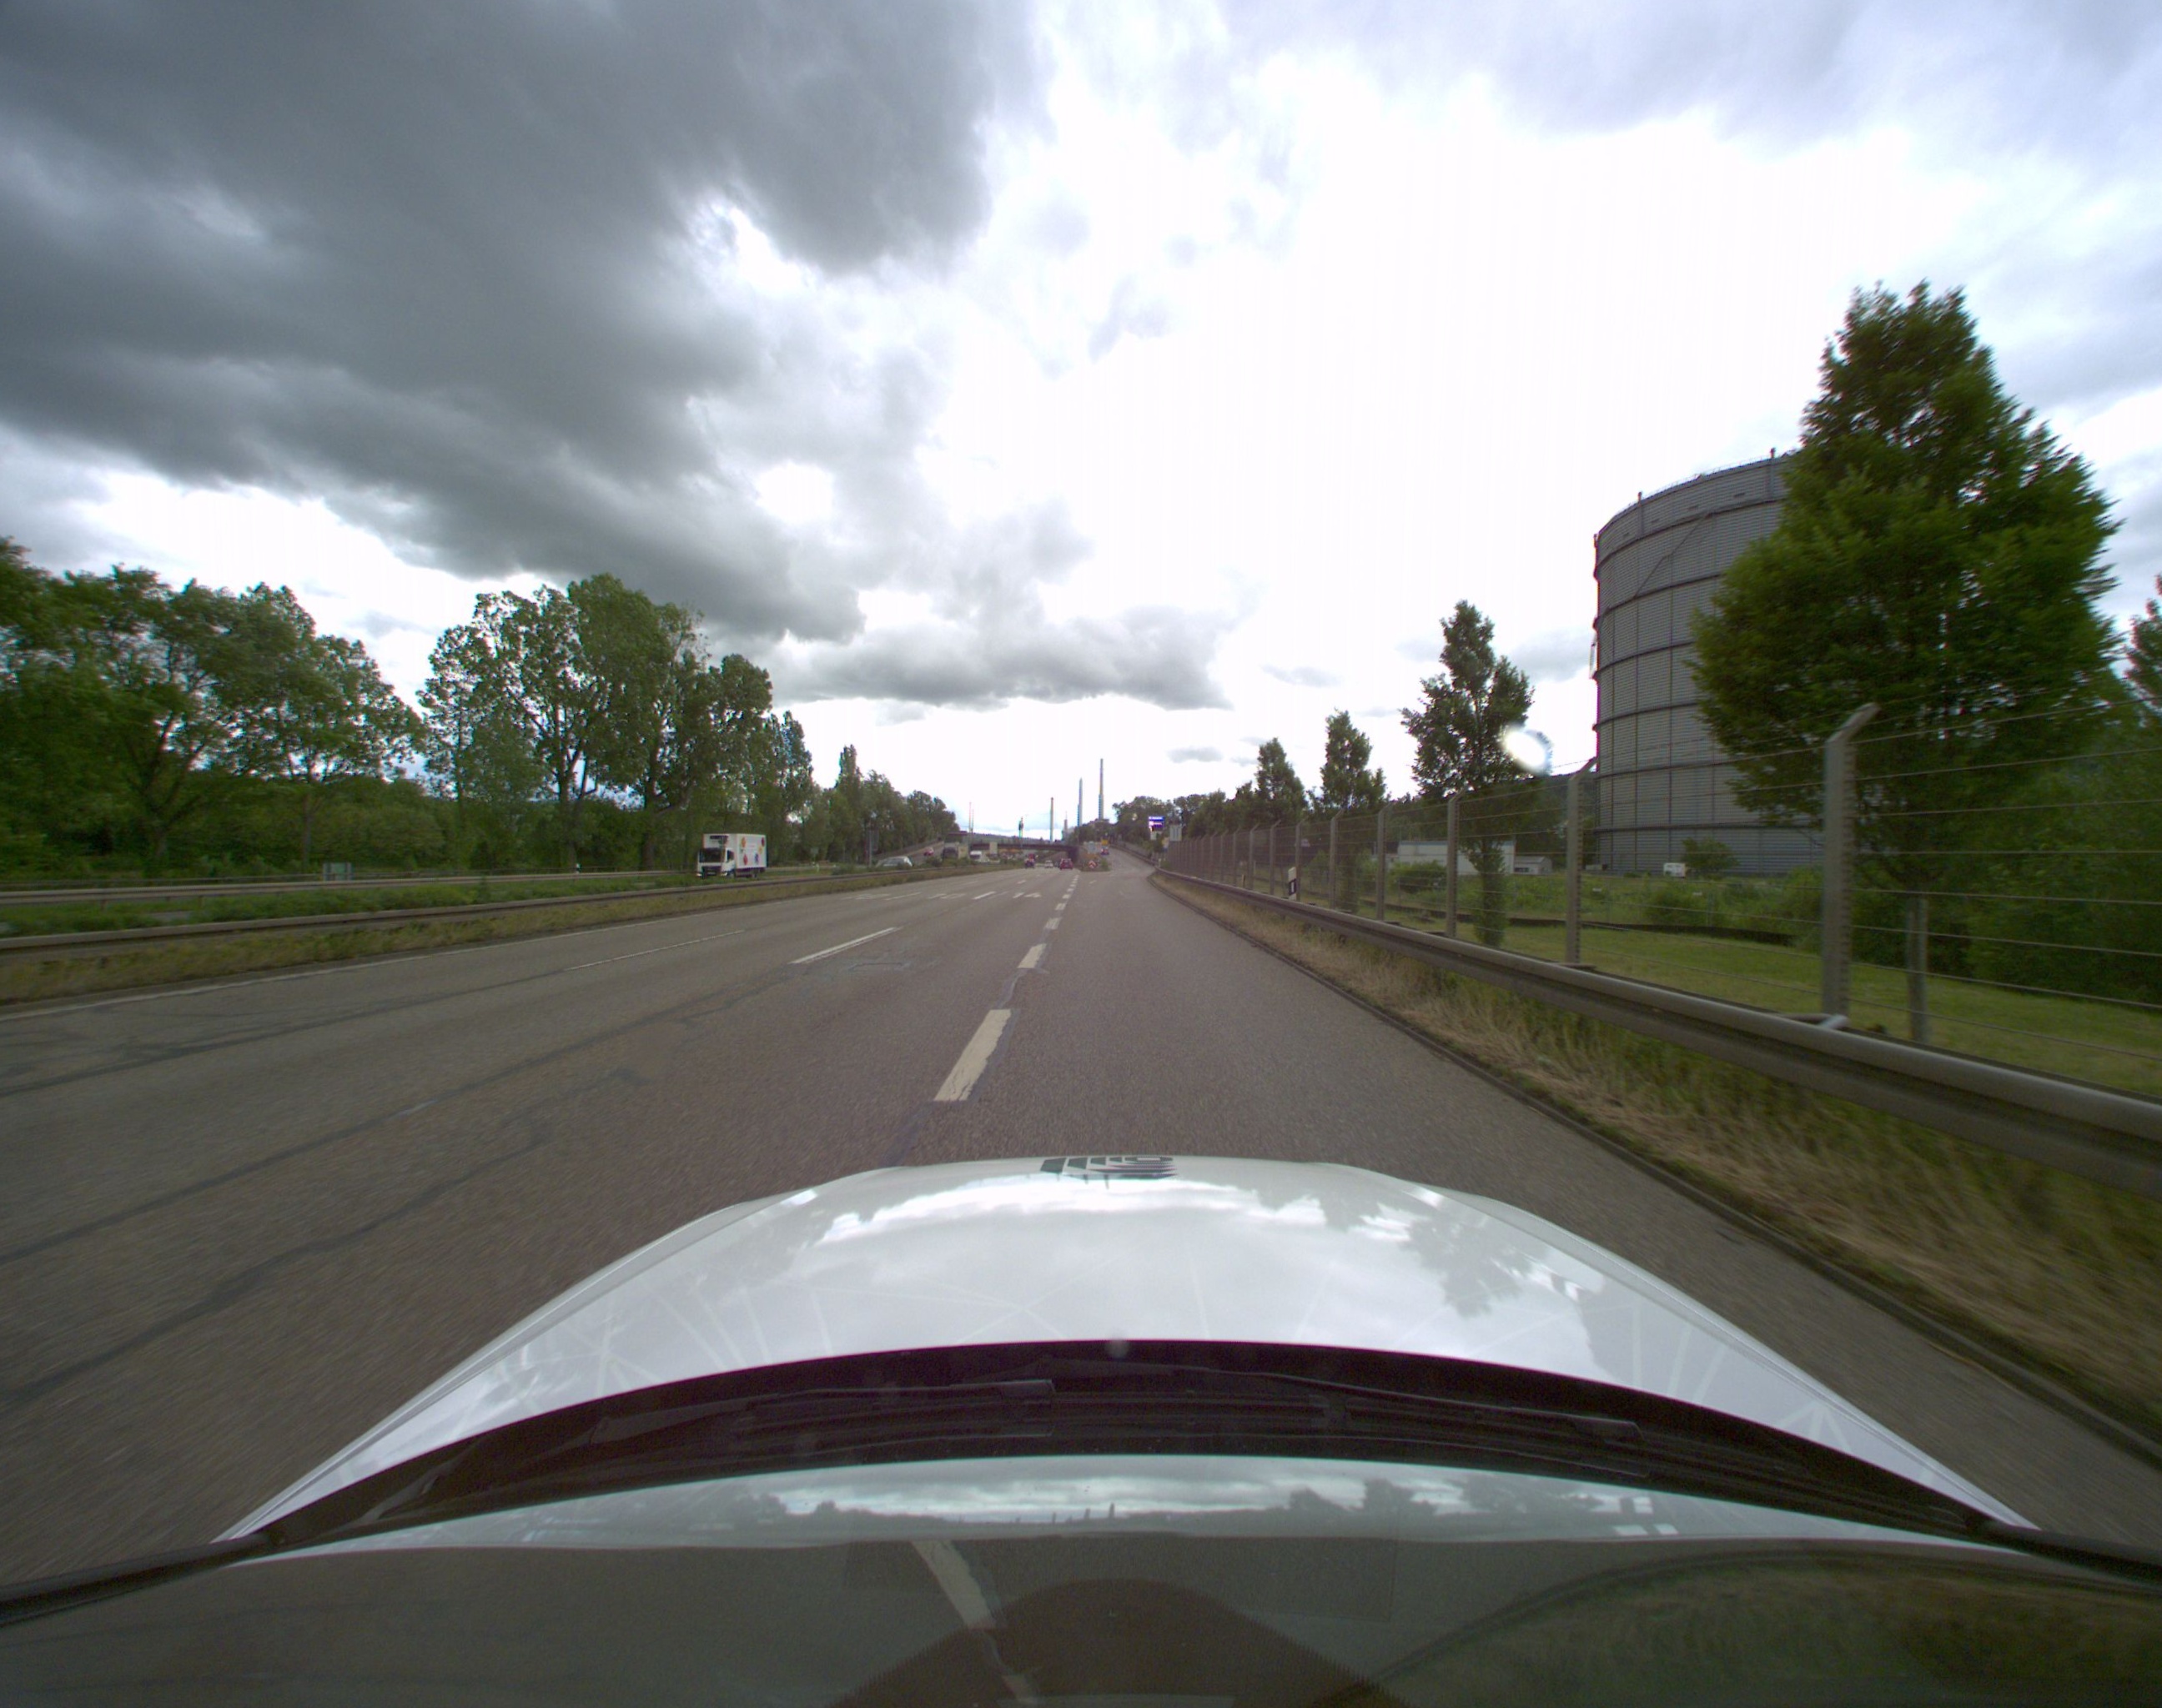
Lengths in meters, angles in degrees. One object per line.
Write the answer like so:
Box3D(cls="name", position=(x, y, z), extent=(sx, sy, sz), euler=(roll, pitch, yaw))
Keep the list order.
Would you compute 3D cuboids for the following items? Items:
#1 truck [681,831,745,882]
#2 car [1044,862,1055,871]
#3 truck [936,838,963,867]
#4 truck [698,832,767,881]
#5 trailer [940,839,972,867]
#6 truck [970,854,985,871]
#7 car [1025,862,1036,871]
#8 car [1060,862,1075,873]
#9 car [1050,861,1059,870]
Box3D(cls="truck", position=(-27.815, 0.175, 61.737), extent=(2.978, 3.643, 3.995), euler=(2, -1, -3))
Box3D(cls="car", position=(-6.569, 2.545, 169.300), extent=(1.987, 1.684, 4.000), euler=(1, 0, 0))
Box3D(cls="truck", position=(-22.202, -0.195, 138.028), extent=(3.453, 4.673, 6.209), euler=(1, -1, -1))
Box3D(cls="truck", position=(-28.013, 0.206, 65.790), extent=(2.976, 3.643, 6.330), euler=(2, -1, -3))
Box3D(cls="trailer", position=(-22.252, -0.098, 146.061), extent=(3.453, 4.673, 14.776), euler=(1, -1, 0))
Box3D(cls="truck", position=(-23.641, 1.979, 185.951), extent=(2.782, 3.937, 5.308), euler=(1, -1, -2))
Box3D(cls="car", position=(-10.172, 2.556, 164.066), extent=(1.987, 1.684, 4.000), euler=(1, 0, 0))
Box3D(cls="car", position=(-1.913, 1.794, 112.515), extent=(1.988, 1.420, 3.997), euler=(1, 0, -2))
Box3D(cls="car", position=(-6.727, 2.900, 206.551), extent=(1.914, 2.013, 3.994), euler=(1, 0, -4))
